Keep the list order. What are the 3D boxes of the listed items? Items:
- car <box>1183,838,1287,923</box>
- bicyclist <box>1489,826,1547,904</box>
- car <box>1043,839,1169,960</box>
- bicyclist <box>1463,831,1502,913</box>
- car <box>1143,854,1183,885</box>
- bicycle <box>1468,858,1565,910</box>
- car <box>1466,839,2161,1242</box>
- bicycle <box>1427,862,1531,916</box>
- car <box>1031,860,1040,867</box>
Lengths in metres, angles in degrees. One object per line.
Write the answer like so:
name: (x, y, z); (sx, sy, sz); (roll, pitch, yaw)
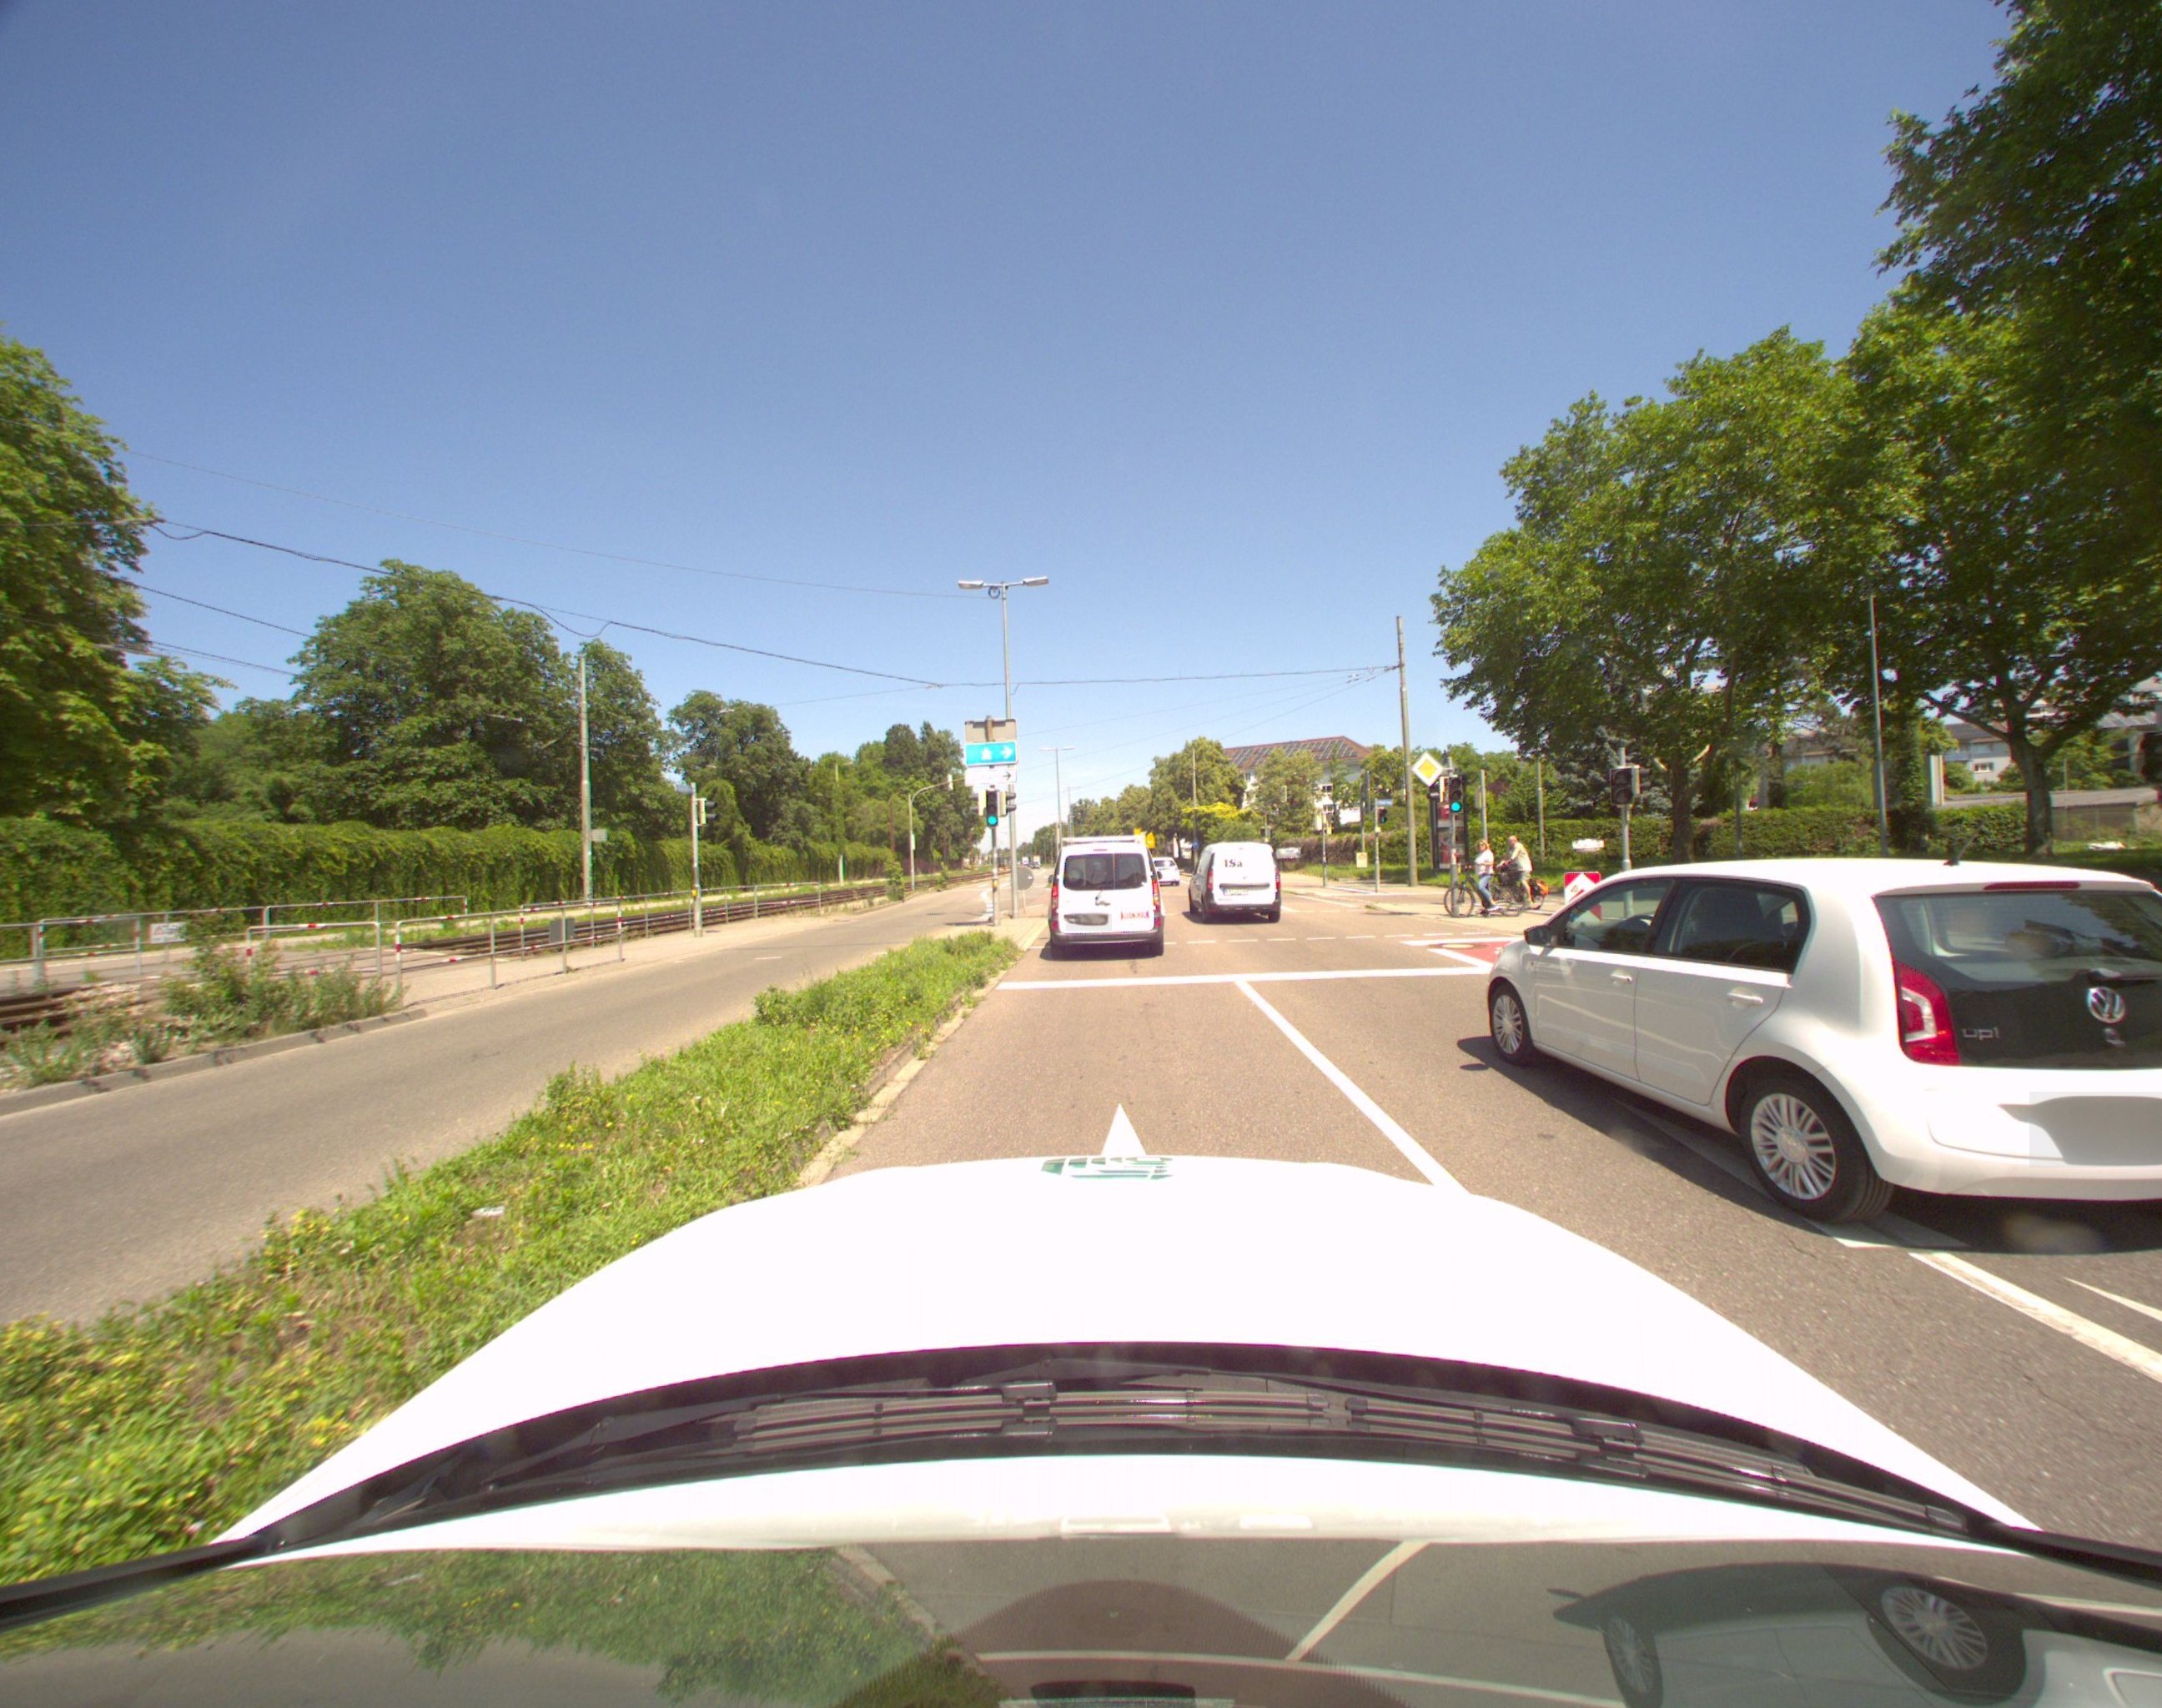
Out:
car: (3.532, 0.578, 19.388); (1.722, 1.788, 4.064); (-1, 0, 0)
bicyclist: (10.438, 0.257, 19.476); (0.725, 1.788, 0.972); (-1, -1, -14)
car: (0.416, 0.672, 14.150); (1.814, 1.739, 4.397); (-1, 0, 1)
bicyclist: (8.918, 0.394, 18.102); (0.573, 1.788, 0.770); (0, -1, 9)
car: (4.419, 0.783, 44.201); (1.828, 1.568, 4.001); (-1, 0, 1)
bicycle: (10.411, 0.702, 19.492); (1.953, 1.159, 0.890); (-2, -1, -14)
car: (3.769, 0.665, 4.650); (1.603, 1.447, 3.437); (-1, 0, 2)
bicycle: (8.757, 0.766, 17.982); (1.856, 1.125, 0.897); (-1, -1, 9)
car: (-9.929, 2.070, 177.298); (1.693, 1.512, 4.062); (-2, 0, -2)
